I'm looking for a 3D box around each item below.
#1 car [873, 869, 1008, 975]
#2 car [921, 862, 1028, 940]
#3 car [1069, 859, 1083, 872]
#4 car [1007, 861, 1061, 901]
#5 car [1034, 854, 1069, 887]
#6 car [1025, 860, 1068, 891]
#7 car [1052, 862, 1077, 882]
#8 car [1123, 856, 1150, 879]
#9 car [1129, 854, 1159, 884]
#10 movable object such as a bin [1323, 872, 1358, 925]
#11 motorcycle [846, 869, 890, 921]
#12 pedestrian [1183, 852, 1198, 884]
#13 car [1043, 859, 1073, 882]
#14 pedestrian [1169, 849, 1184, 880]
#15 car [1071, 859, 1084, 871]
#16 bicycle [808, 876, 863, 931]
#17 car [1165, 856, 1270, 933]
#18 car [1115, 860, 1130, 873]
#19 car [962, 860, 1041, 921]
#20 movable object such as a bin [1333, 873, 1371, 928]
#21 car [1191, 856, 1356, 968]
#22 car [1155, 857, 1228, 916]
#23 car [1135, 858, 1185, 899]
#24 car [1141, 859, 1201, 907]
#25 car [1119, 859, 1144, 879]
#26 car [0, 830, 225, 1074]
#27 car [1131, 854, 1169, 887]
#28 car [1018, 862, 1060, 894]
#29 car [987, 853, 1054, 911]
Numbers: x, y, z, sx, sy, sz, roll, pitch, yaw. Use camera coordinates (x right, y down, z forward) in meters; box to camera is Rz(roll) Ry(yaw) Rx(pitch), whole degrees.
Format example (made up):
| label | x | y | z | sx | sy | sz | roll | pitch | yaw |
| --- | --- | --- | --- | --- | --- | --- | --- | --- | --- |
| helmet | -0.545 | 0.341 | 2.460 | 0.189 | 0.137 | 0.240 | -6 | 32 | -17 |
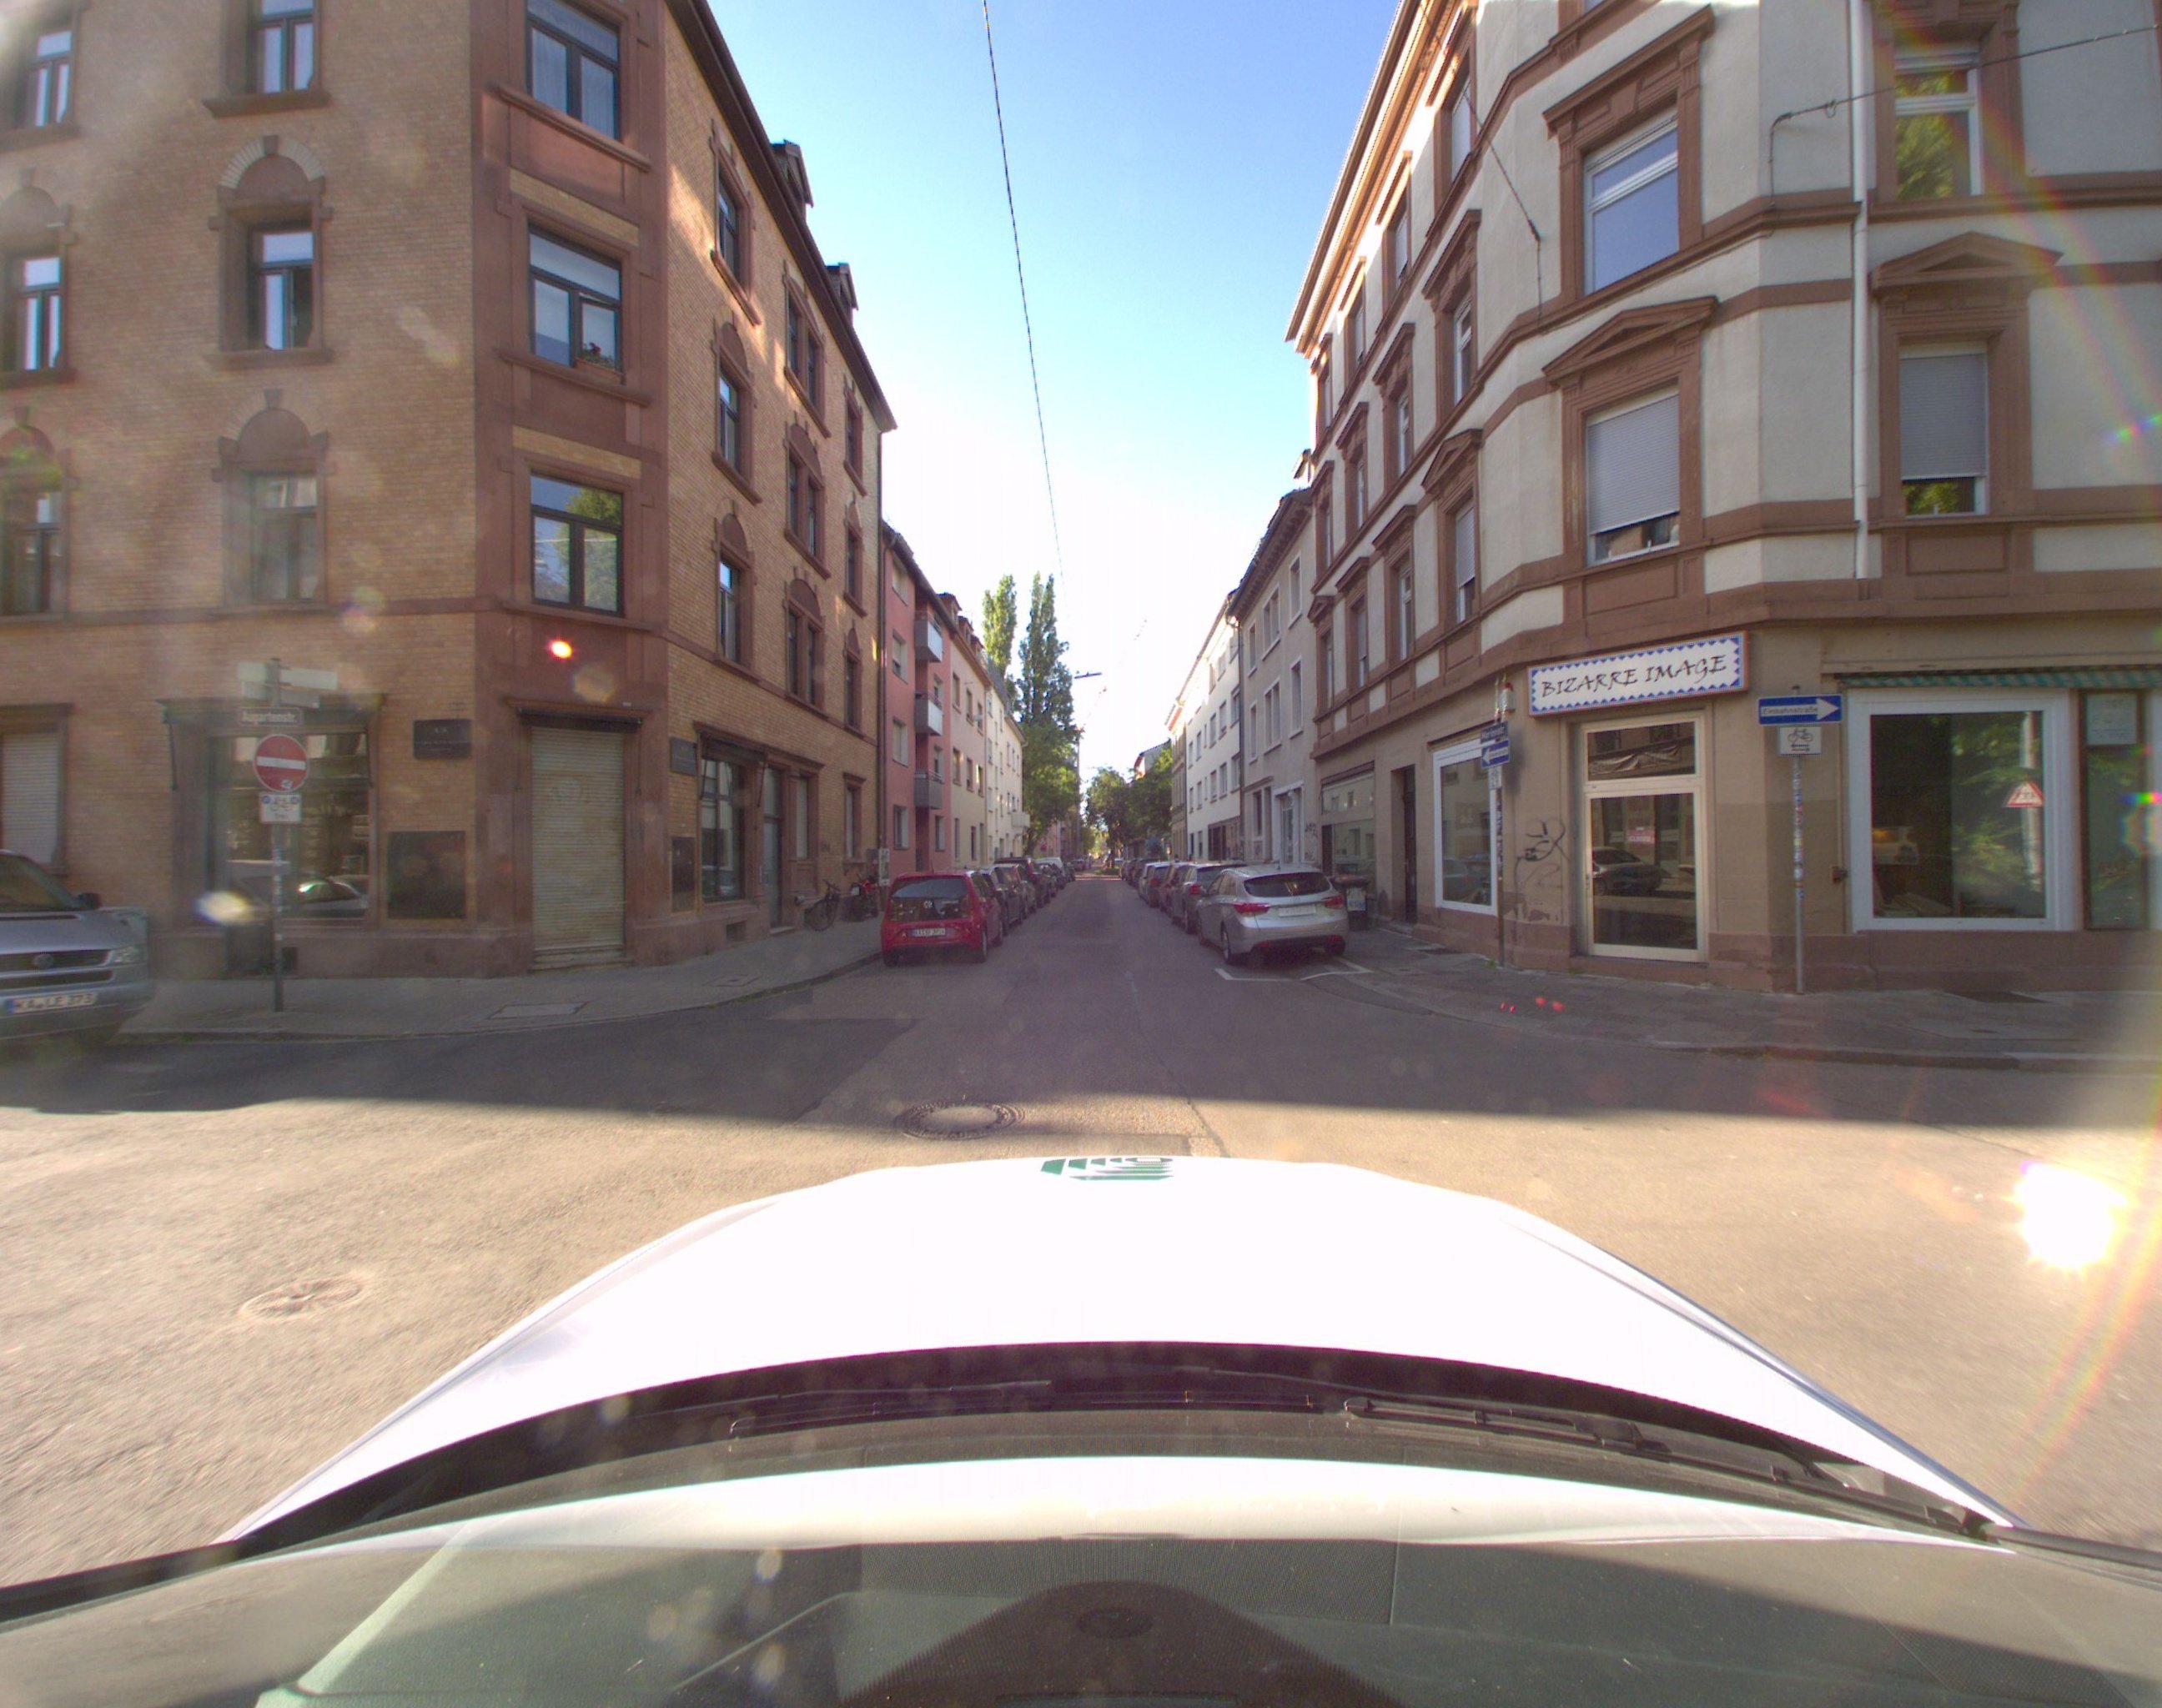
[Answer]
| label | x | y | z | sx | sy | sz | roll | pitch | yaw |
| --- | --- | --- | --- | --- | --- | --- | --- | --- | --- |
| car | -2.299 | 1.071 | 14.227 | 1.622 | 1.481 | 3.601 | -3 | 0 | 1 |
| car | -2.350 | 1.004 | 19.041 | 1.688 | 1.521 | 4.099 | -3 | 0 | 3 |
| car | -0.577 | 1.459 | 102.627 | 1.670 | 1.487 | 4.095 | -3 | 0 | 1 |
| car | -1.922 | 1.089 | 34.490 | 1.736 | 1.507 | 4.349 | -3 | 0 | 3 |
| car | -1.720 | 0.941 | 48.576 | 1.759 | 1.785 | 4.039 | -3 | 0 | 1 |
| car | -1.825 | 1.137 | 43.914 | 1.665 | 1.486 | 3.999 | -3 | 0 | 6 |
| car | -1.238 | 1.365 | 61.538 | 1.664 | 1.361 | 4.049 | -3 | 0 | 1 |
| car | 4.067 | 0.966 | 60.022 | 1.670 | 1.561 | 3.796 | -3 | 0 | 1 |
| car | 3.849 | 0.931 | 50.358 | 1.669 | 1.681 | 4.096 | -3 | -1 | 2 |
| movable object such as a bin | 5.374 | 0.912 | 16.879 | 0.512 | 1.039 | 0.594 | -3 | -1 | 2 |
| motorcycle | -5.312 | 1.002 | 20.400 | 0.531 | 1.206 | 1.909 | -1 | 0 | 2 |
| pedestrian | 5.907 | 0.758 | 43.961 | 0.683 | 1.660 | 0.717 | -2 | 0 | 1 |
| car | -1.599 | 1.123 | 57.325 | 1.662 | 1.469 | 3.825 | -3 | 0 | 4 |
| pedestrian | 5.168 | 0.571 | 44.019 | 0.683 | 1.660 | 0.717 | -2 | 0 | 1 |
| car | -0.455 | 1.488 | 107.995 | 1.670 | 1.487 | 4.095 | -3 | 0 | 1 |
| bicycle | -5.387 | 1.065 | 17.980 | 0.531 | 1.074 | 1.892 | 3 | 0 | 2 |
| car | 3.042 | 0.852 | 18.930 | 1.738 | 1.507 | 4.021 | -3 | 0 | 1 |
| car | 5.266 | 1.556 | 104.095 | 1.670 | 1.487 | 3.638 | -3 | 0 | 1 |
| car | -2.237 | 0.988 | 23.785 | 1.649 | 1.521 | 3.947 | -3 | 0 | 3 |
| movable object such as a bin | 5.355 | 0.913 | 16.125 | 0.512 | 1.039 | 0.620 | -3 | -1 | 2 |
| car | 3.023 | 0.823 | 13.711 | 1.738 | 1.507 | 4.358 | -3 | 0 | 1 |
| car | 3.197 | 0.893 | 24.300 | 1.593 | 1.507 | 4.184 | -3 | 0 | 1 |
| car | 3.200 | 0.948 | 33.634 | 1.670 | 1.507 | 3.937 | -3 | 0 | 1 |
| car | 3.115 | 0.975 | 28.834 | 1.670 | 1.507 | 3.937 | -3 | 0 | 1 |
| car | 3.987 | 1.157 | 64.927 | 1.670 | 1.487 | 4.095 | -3 | 0 | 1 |
| car | -10.696 | 0.820 | 7.047 | 4.687 | 1.894 | 2.030 | -1 | -2 | 6 |
| car | 3.809 | 0.880 | 45.395 | 1.670 | 1.627 | 4.250 | -5 | -1 | 1 |
| car | -1.973 | 1.130 | 39.522 | 1.667 | 1.388 | 4.182 | -3 | 0 | 1 |
| car | -2.069 | 0.925 | 29.207 | 1.736 | 1.811 | 4.675 | -3 | 0 | 3 |
